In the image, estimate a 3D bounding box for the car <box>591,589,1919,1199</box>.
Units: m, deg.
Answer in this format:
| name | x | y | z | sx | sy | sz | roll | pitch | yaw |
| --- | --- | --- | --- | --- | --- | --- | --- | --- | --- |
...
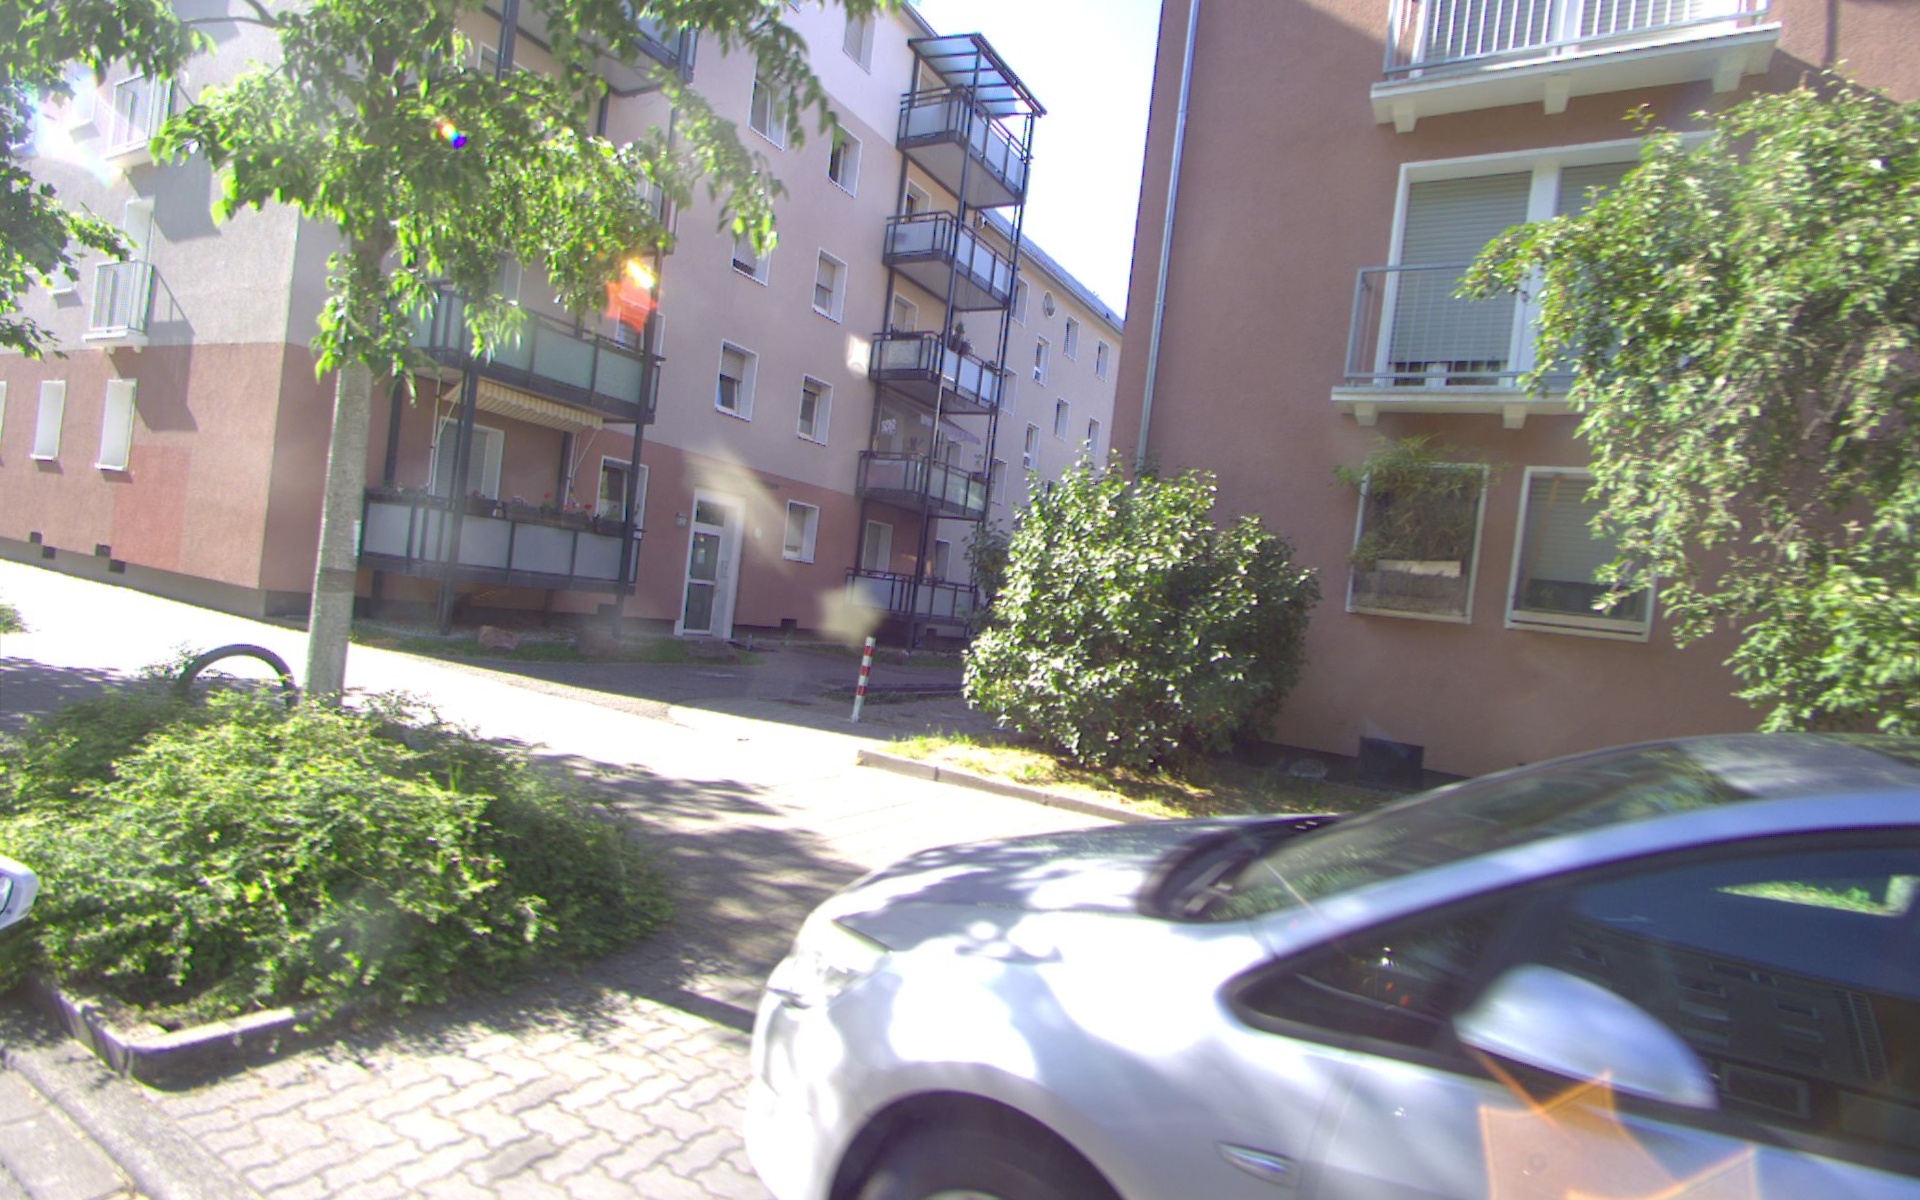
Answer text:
| name | x | y | z | sx | sy | sz | roll | pitch | yaw |
| --- | --- | --- | --- | --- | --- | --- | --- | --- | --- |
| car | 1.368 | 0.942 | 1.861 | 3.933 | 1.472 | 1.717 | 6 | 1 | 31 |
